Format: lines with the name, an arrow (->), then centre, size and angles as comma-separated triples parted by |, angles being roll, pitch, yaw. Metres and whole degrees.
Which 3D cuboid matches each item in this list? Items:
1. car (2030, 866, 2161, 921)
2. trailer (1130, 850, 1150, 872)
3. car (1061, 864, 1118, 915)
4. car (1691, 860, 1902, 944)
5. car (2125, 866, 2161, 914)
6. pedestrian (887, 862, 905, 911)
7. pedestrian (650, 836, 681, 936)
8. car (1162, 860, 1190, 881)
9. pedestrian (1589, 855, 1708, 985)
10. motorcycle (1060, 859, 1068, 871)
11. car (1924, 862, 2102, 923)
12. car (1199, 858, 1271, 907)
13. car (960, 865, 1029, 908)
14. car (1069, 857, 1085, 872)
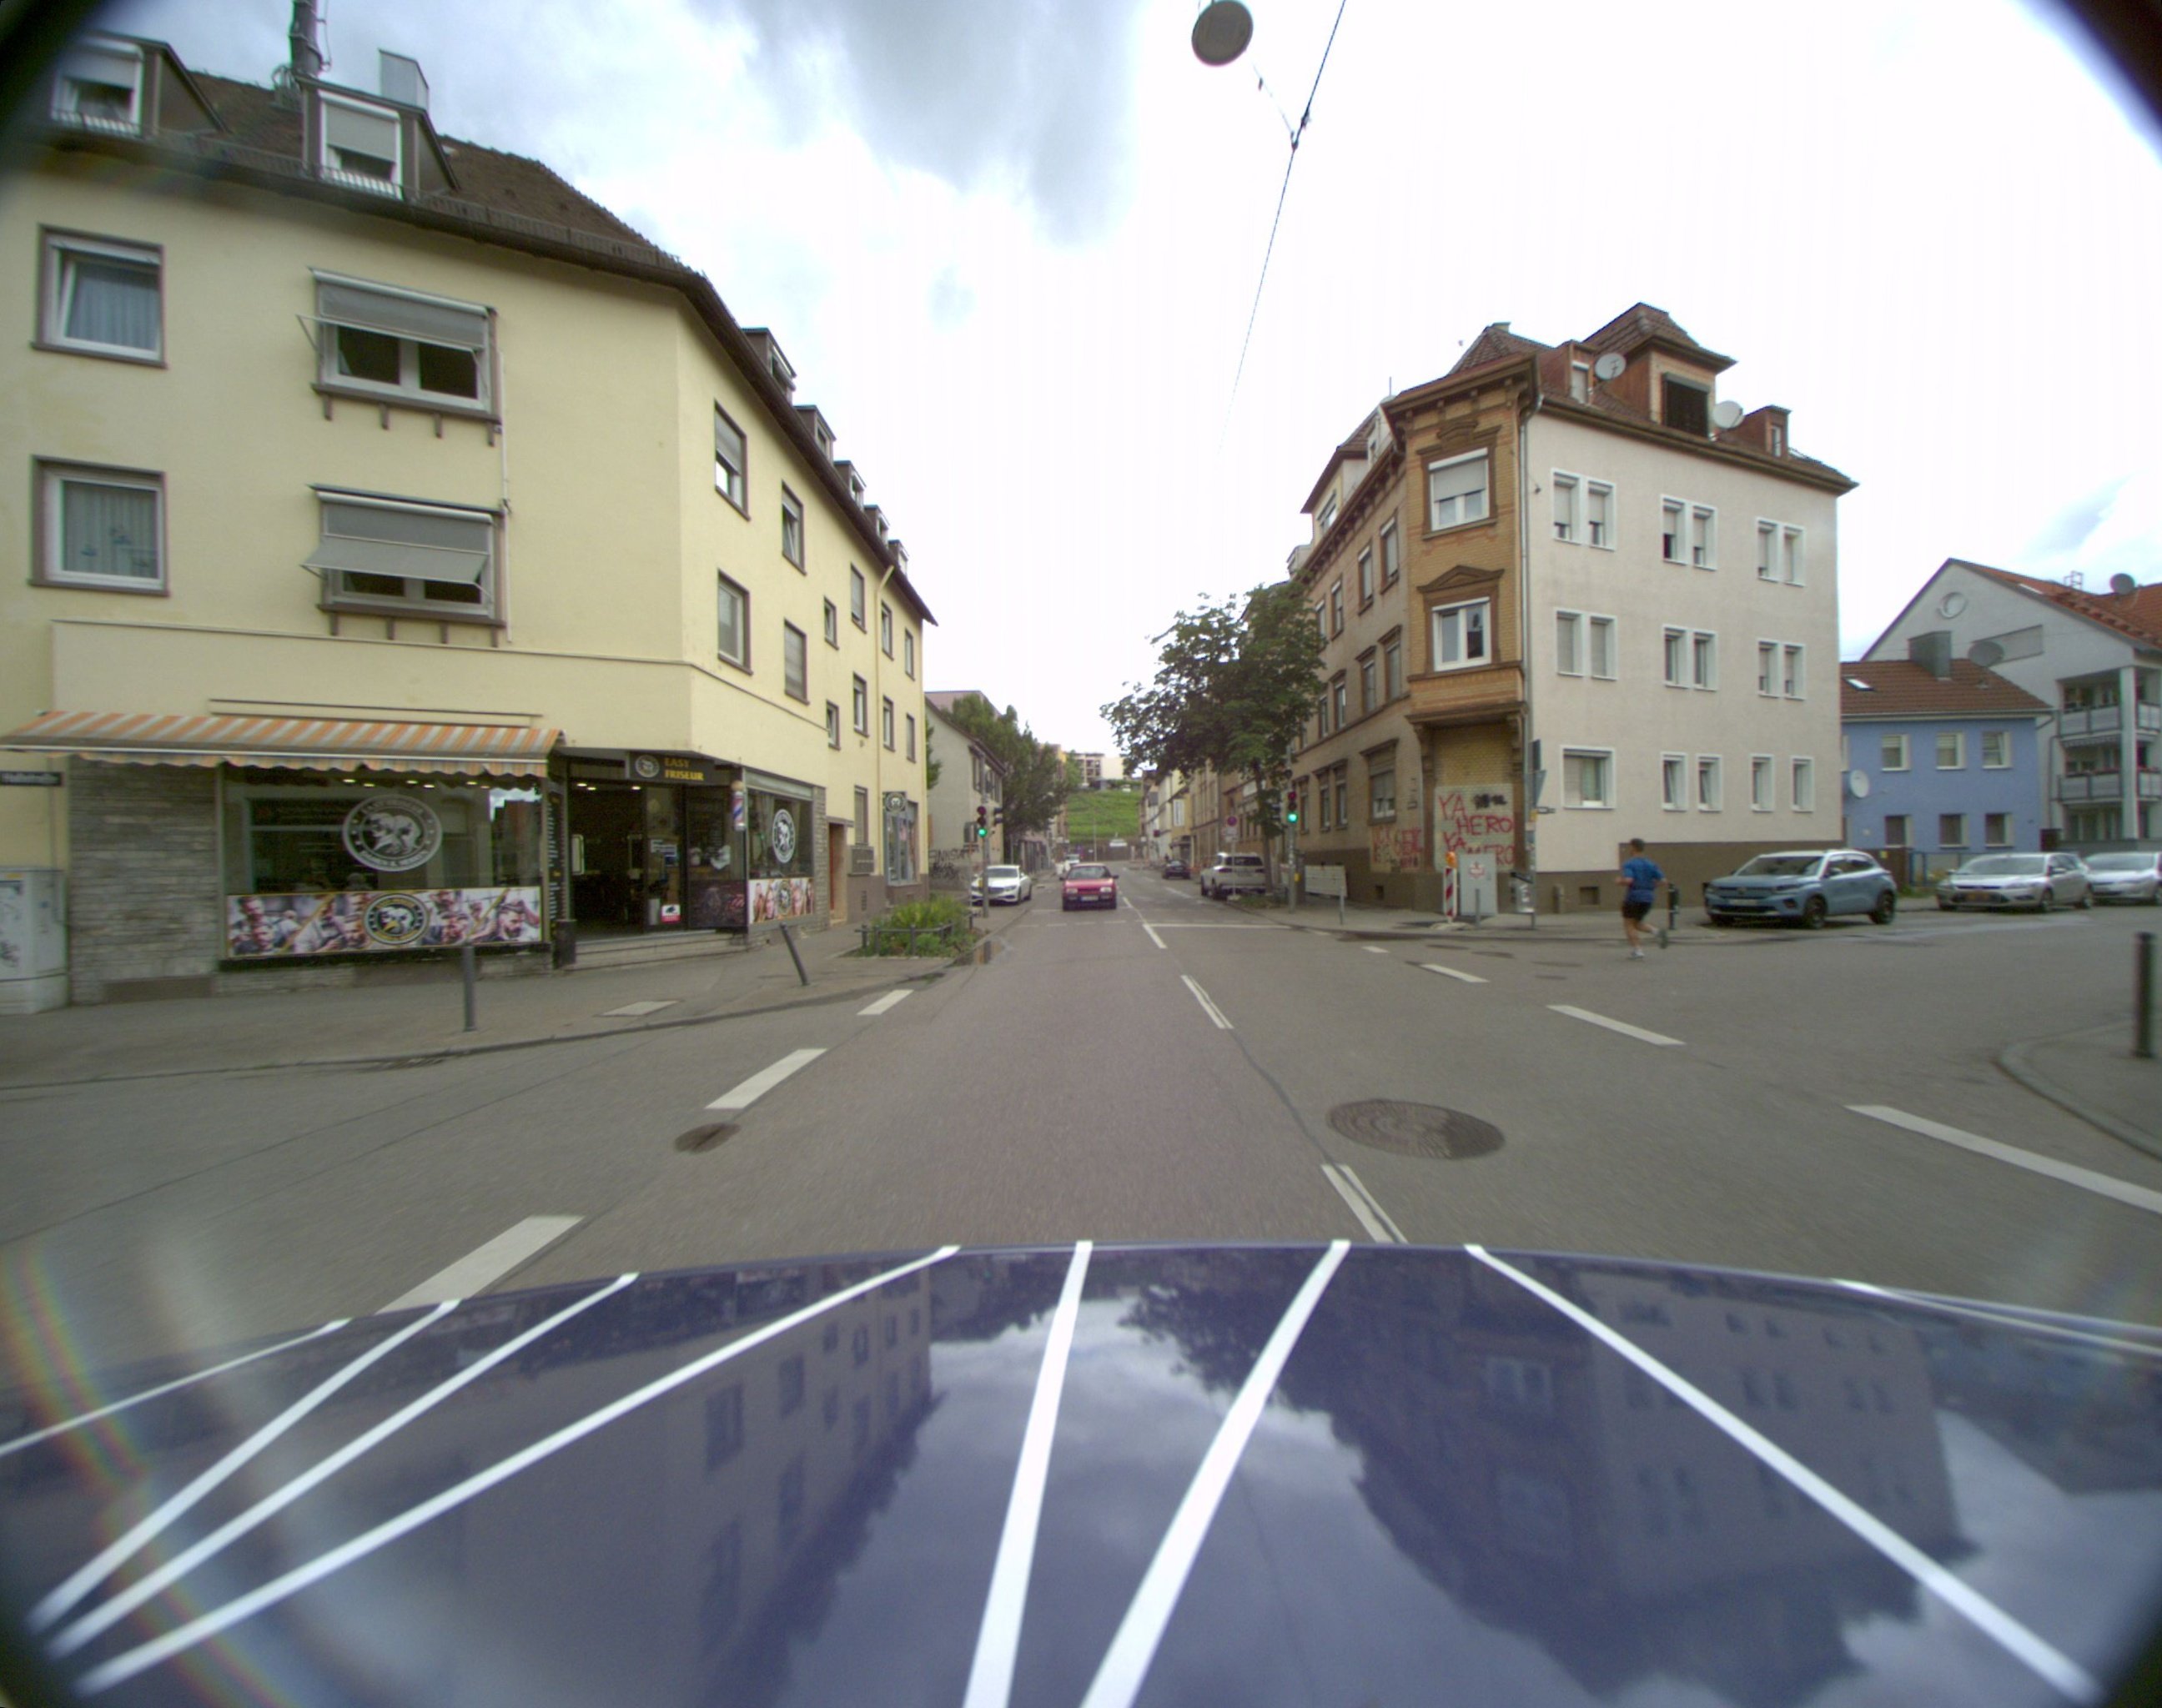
car -> 29.236, 1.072, 21.561 | 3.853, 1.445, 1.756 | 1, -1, -20
trailer -> 7.448, 0.855, 96.268 | 2.450, 2.787, 6.304 | 0, 0, 3
car -> 0.335, 1.062, 24.168 | 1.626, 1.387, 4.001 | -1, 0, 3
car -> 15.107, 0.938, 16.061 | 3.726, 1.542, 1.772 | -1, 0, -20
car -> 34.512, 1.123, 23.426 | 3.853, 1.445, 1.756 | 1, -1, -20
pedestrian -> -5.951, 1.041, 24.451 | 0.373, 1.522, 0.419 | -2, 1, 3
pedestrian -> -7.515, 0.568, 13.729 | 0.397, 1.764, 0.386 | -3, 1, -33
car -> 6.700, 1.164, 54.064 | 1.582, 1.374, 4.355 | 0, 0, 2
pedestrian -> 7.923, 0.879, 10.666 | 0.740, 1.708, 1.156 | -2, 0, -2
motorcycle -> -1.734, 1.115, 77.644 | 0.648, 1.219, 2.337 | -2, 0, 1
car -> 23.951, 0.955, 19.541 | 3.853, 1.445, 1.756 | 1, -1, -20
car -> 5.813, 1.032, 29.287 | 1.895, 1.702, 4.741 | 1, 0, 1
car -> -3.237, 1.191, 29.442 | 1.771, 1.457, 4.784 | -1, 0, 4
car -> -0.563, 1.350, 100.680 | 1.998, 1.970, 4.878 | -1, 0, 0
